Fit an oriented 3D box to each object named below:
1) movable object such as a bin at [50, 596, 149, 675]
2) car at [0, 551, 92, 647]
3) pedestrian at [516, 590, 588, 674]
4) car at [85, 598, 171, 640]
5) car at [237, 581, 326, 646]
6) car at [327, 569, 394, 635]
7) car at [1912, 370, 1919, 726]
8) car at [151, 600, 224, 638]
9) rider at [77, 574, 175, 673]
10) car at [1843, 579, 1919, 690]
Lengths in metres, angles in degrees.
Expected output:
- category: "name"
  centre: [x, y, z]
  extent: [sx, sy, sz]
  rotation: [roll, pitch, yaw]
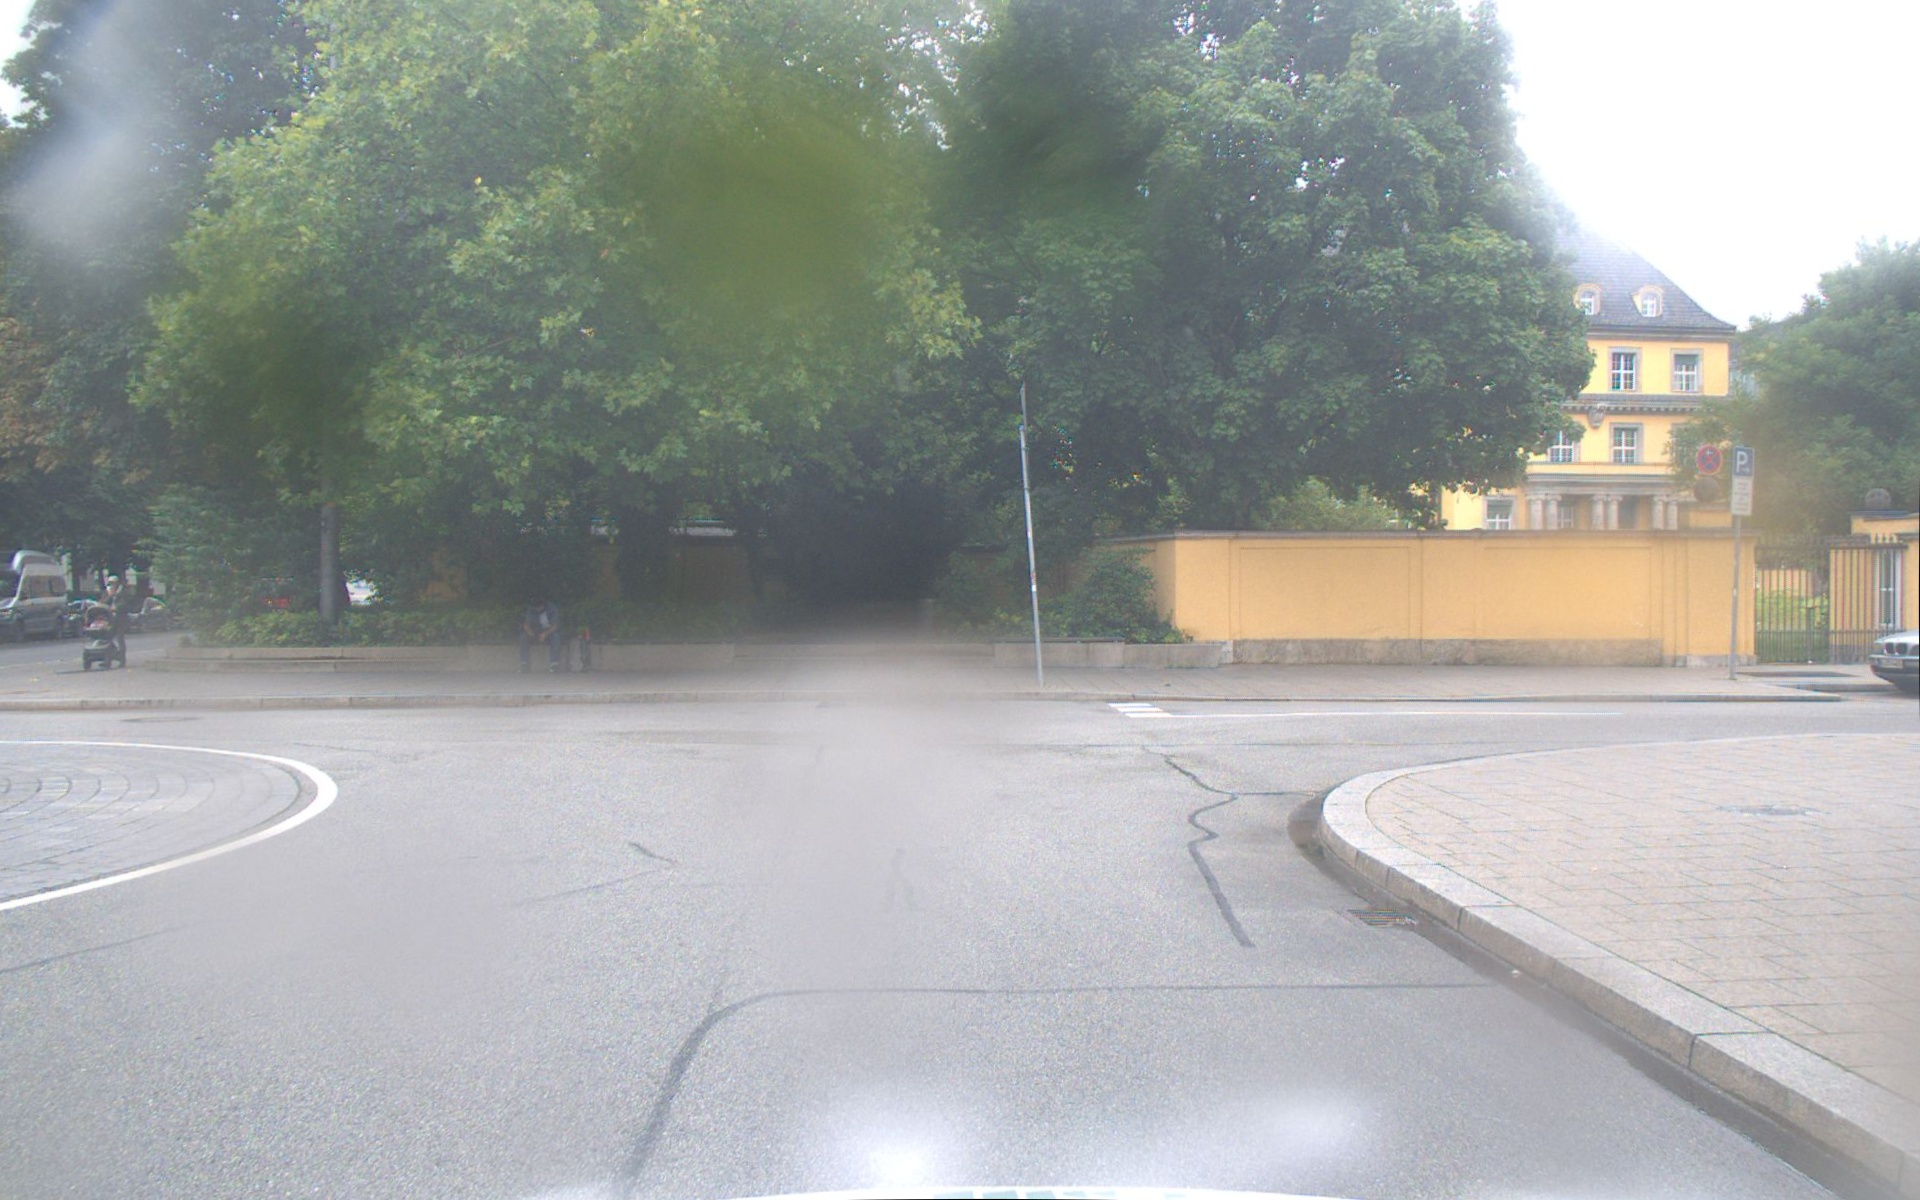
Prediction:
- category: "movable object such as a bin"
  centre: [-15.071, 0.610, 28.995]
  extent: [1.055, 1.289, 1.087]
  rotation: [-3, 0, 4]
- category: "car"
  centre: [-30.837, -0.034, 54.083]
  extent: [2.291, 2.973, 6.566]
  rotation: [0, 0, -8]
- category: "pedestrian"
  centre: [-6.029, 0.455, 24.472]
  extent: [0.795, 1.209, 0.919]
  rotation: [-1, 0, 2]
- category: "car"
  centre: [-32.573, 0.708, 64.888]
  extent: [1.861, 1.565, 4.065]
  rotation: [0, 0, -9]
- category: "car"
  centre: [-21.638, 0.388, 52.929]
  extent: [2.007, 1.956, 4.429]
  rotation: [-1, 0, -14]
- category: "car"
  centre: [-24.723, 0.041, 68.355]
  extent: [2.006, 2.603, 5.230]
  rotation: [-1, 0, -13]
- category: "car"
  centre: [3.783, 0.366, 2.202]
  extent: [1.878, 1.996, 4.922]
  rotation: [-2, 1, -5]
- category: "car"
  centre: [-34.187, 0.806, 73.289]
  extent: [1.861, 1.599, 4.065]
  rotation: [0, 0, -9]
- category: "rider"
  centre: [-15.021, 0.402, 29.828]
  extent: [1.059, 1.696, 1.140]
  rotation: [-3, 0, 4]
- category: "car"
  centre: [14.561, 0.418, 22.246]
  extent: [4.468, 1.426, 1.824]
  rotation: [-1, 1, -4]
